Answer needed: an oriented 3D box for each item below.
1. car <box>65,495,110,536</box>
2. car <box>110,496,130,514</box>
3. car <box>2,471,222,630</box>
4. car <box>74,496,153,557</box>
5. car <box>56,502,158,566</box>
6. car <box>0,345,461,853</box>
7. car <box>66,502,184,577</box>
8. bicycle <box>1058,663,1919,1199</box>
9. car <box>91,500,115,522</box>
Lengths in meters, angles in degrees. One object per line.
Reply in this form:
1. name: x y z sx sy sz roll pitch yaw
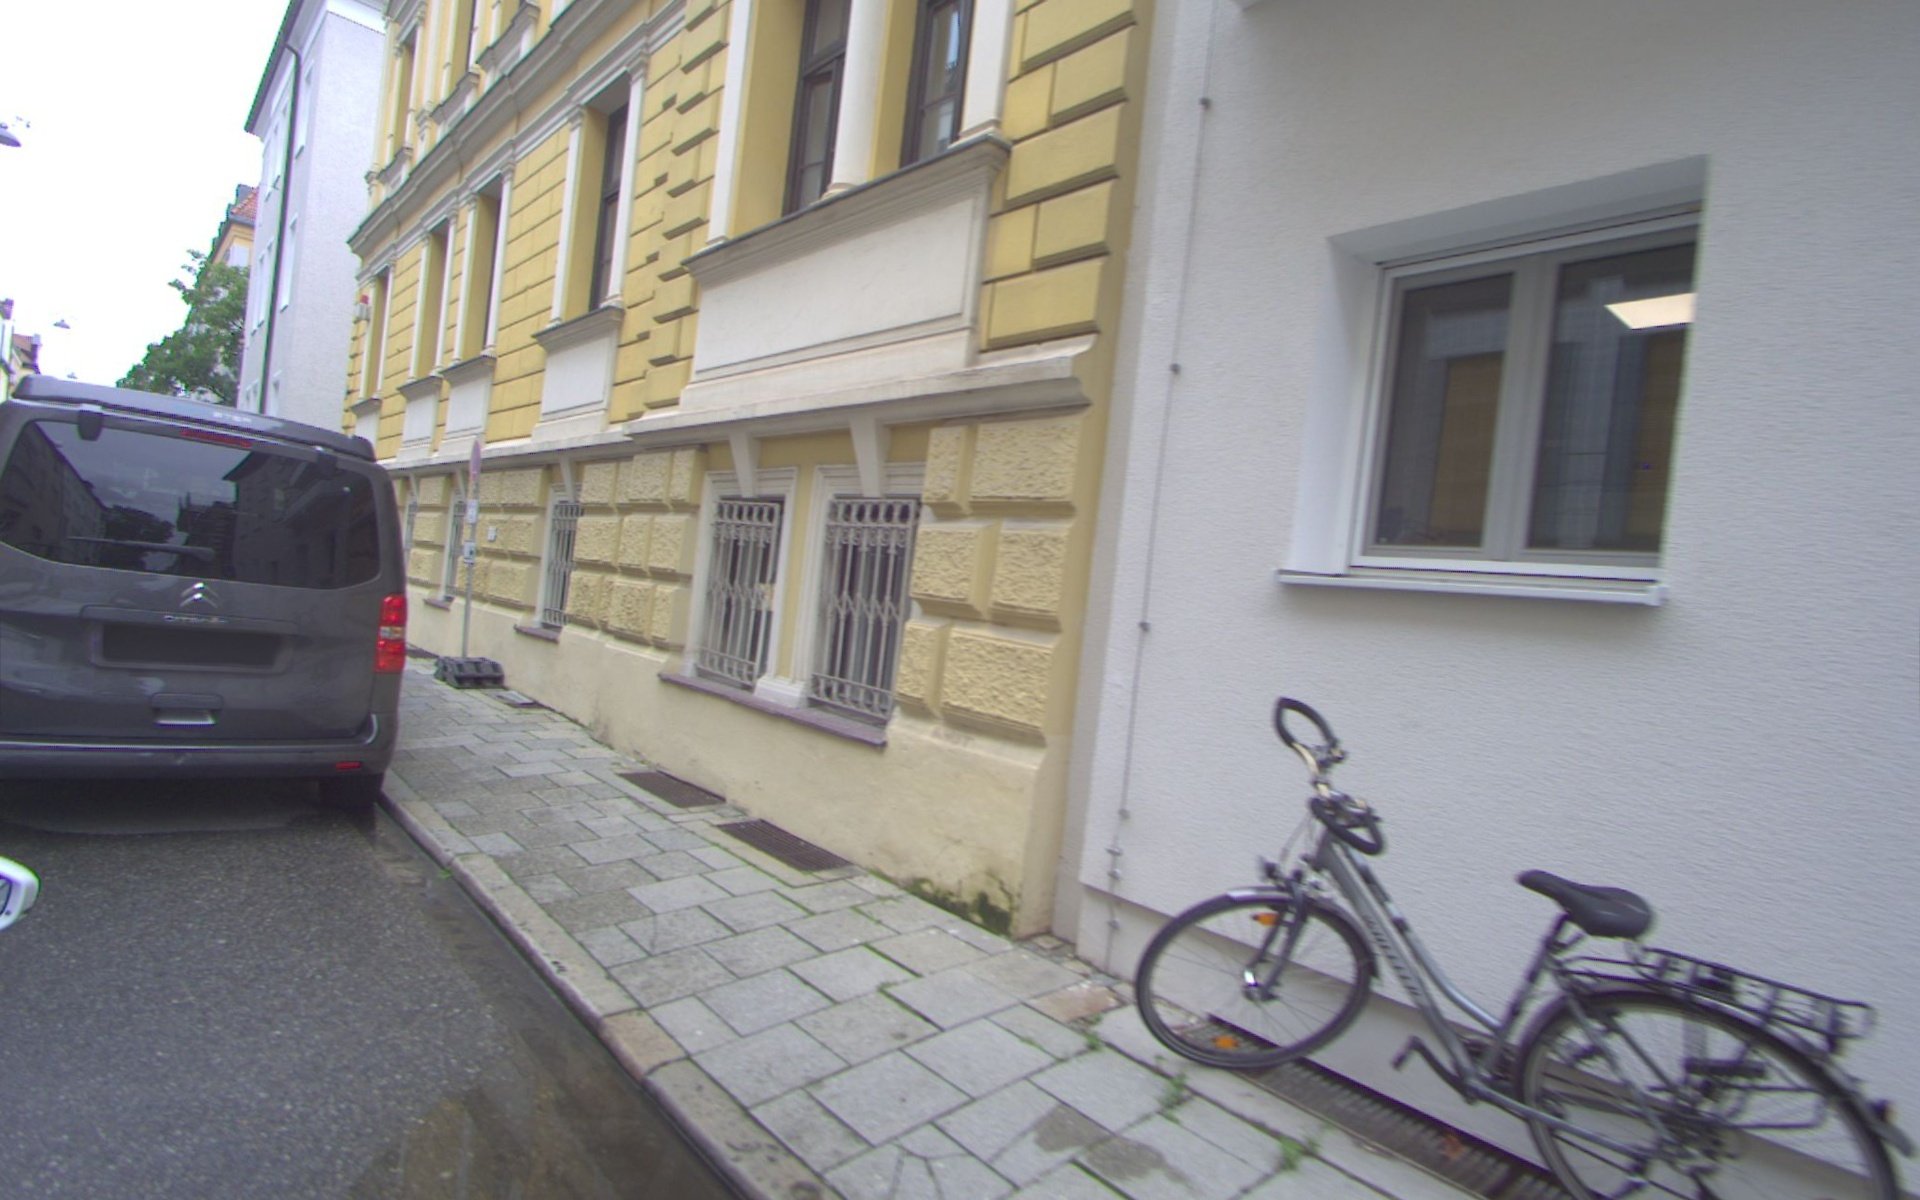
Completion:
1. car: -47.475 -4.605 54.729 1.694 1.924 3.729 6 1 -41
2. car: -106.197 -12.024 127.181 1.857 2.041 3.955 3 3 -40
3. car: -11.376 -0.696 13.526 1.886 1.662 4.271 6 1 -41
4. car: -26.165 -2.284 31.069 1.694 1.565 3.729 6 1 -41
5. car: -22.854 -1.792 26.963 1.886 1.394 3.894 6 0 -41
6. car: -4.794 -0.097 5.987 1.987 1.955 4.605 8 -1 -41
7. car: -19.264 -1.417 23.187 1.886 1.394 3.751 6 0 -41
8. bicycle: 1.173 0.854 2.378 0.634 1.169 1.893 2 4 -40
9. car: -85.284 -8.881 100.064 1.694 1.941 3.729 6 1 -41
